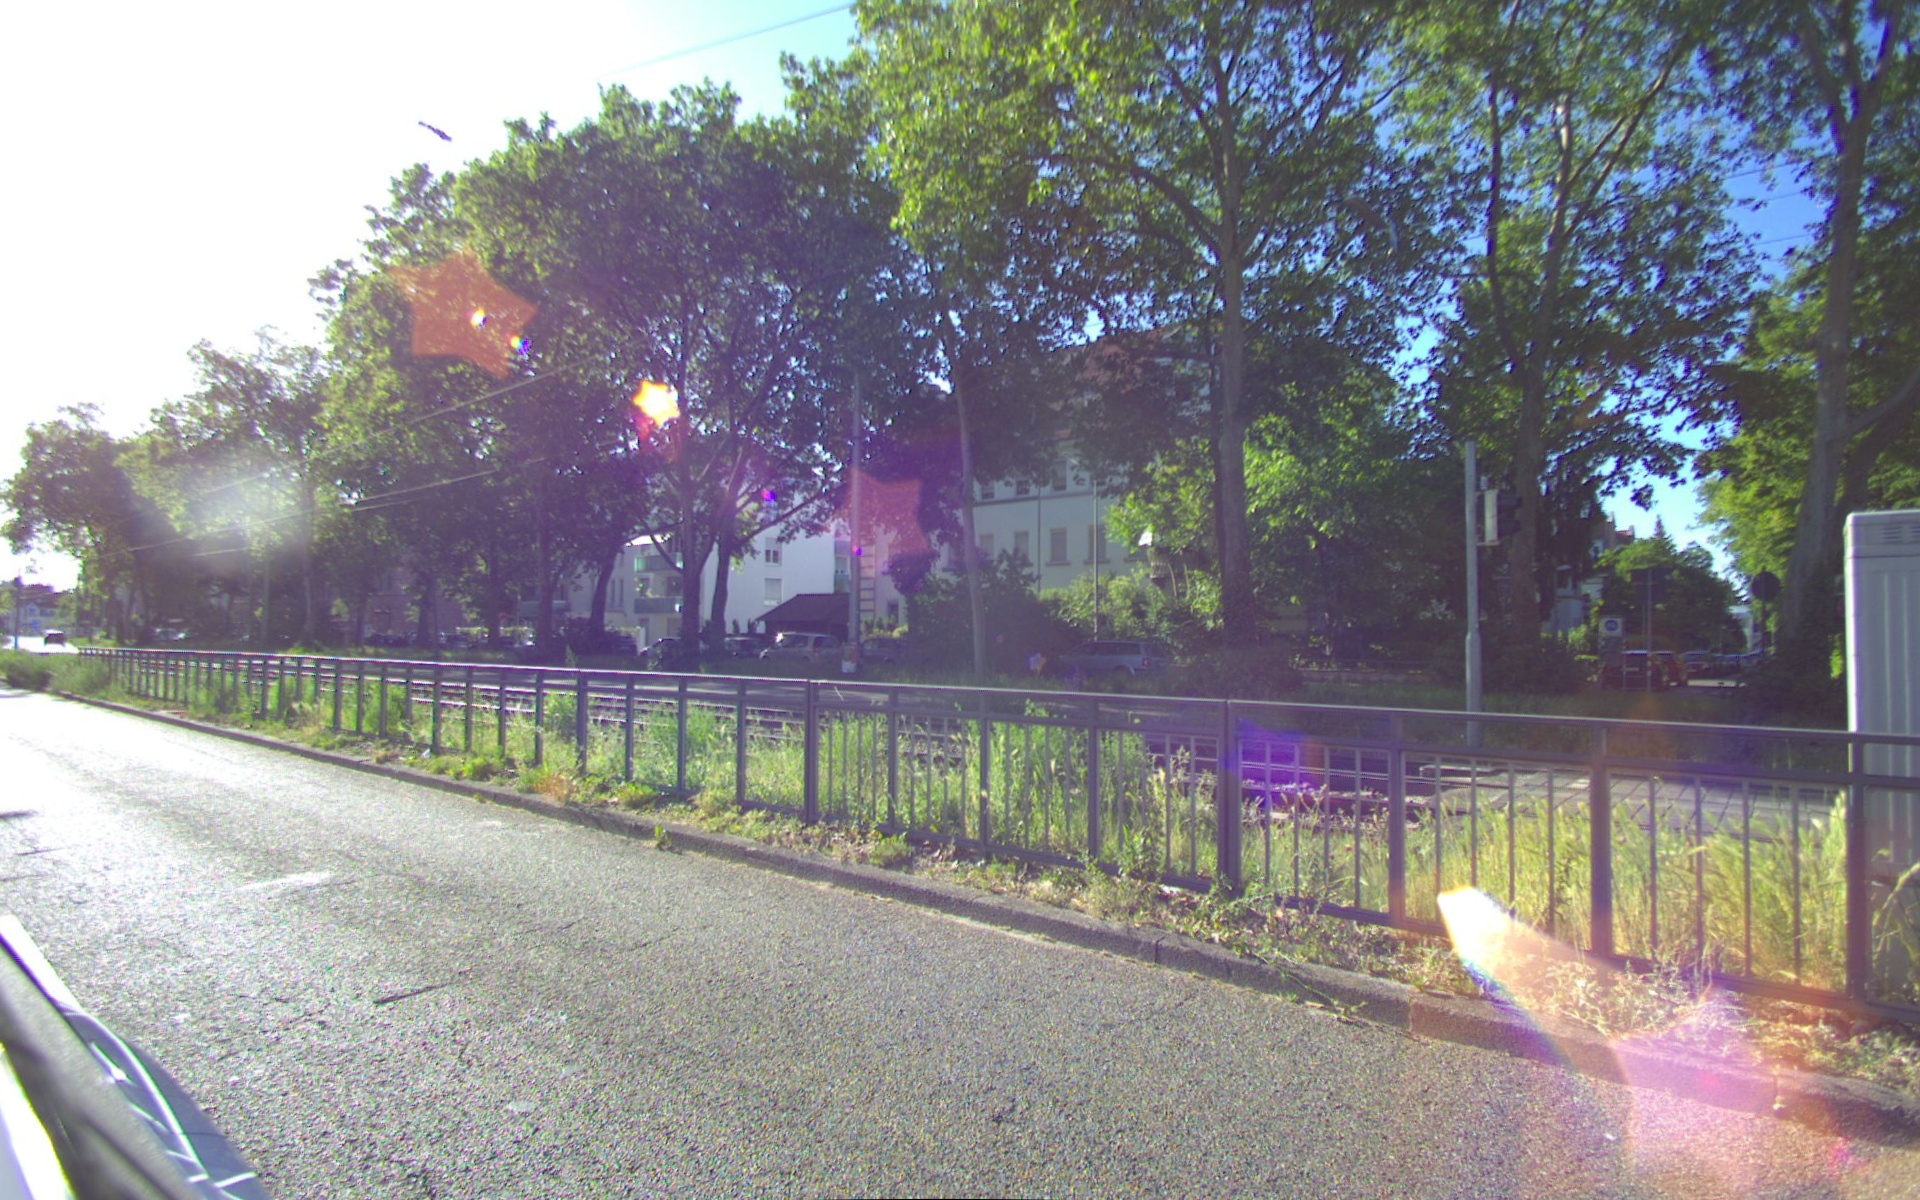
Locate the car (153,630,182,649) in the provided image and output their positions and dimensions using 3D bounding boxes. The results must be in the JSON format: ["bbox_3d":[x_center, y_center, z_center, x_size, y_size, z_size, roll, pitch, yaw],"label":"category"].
[{"bbox_3d":[-85.435,4.224,109.083,1.970,2.029,4.002,3,-4,-44],"label":"car"}]

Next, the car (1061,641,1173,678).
[{"bbox_3d":[4.928,1.849,31.929,3.213,1.125,1.458,-2,-3,38],"label":"car"}]

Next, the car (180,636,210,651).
[{"bbox_3d":[-77.547,4.368,102.588,3.687,1.497,1.748,-2,-3,42],"label":"car"}]

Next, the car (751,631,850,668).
[{"bbox_3d":[-6.655,2.043,41.931,4.317,1.451,1.717,-2,-3,42],"label":"car"}]

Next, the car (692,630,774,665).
[{"bbox_3d":[-10.101,2.083,44.951,3.696,1.476,1.756,-2,-3,42],"label":"car"}]

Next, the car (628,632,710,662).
[{"bbox_3d":[-13.941,2.248,48.319,4.459,1.334,1.623,-2,-5,42],"label":"car"}]

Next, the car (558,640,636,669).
[{"bbox_3d":[-18.766,2.775,52.269,4.317,1.464,1.972,-2,-3,42],"label":"car"}]

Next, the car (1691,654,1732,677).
[{"bbox_3d":[41.130,3.566,55.369,1.531,1.127,3.083,-2,-3,41],"label":"car"}]

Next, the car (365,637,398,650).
[{"bbox_3d":[-40.723,3.081,71.192,3.058,0.883,1.094,-2,-3,41],"label":"car"}]

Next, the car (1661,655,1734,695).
[{"bbox_3d":[29.830,2.970,40.895,1.999,1.429,3.945,-2,-3,41],"label":"car"}]

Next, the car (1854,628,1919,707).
[{"bbox_3d":[19.898,1.283,19.319,4.141,1.521,1.652,-2,-3,40],"label":"car"}]

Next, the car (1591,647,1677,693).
[{"bbox_3d":[23.772,2.418,35.648,1.999,1.429,3.945,-2,-3,41],"label":"car"}]

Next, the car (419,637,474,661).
[{"bbox_3d":[-32.927,3.147,64.889,3.998,1.484,1.778,-2,-3,41],"label":"car"}]

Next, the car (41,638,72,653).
[{"bbox_3d":[-99.069,4.991,110.991,4.456,1.660,1.838,-2,-3,40],"label":"car"}]
